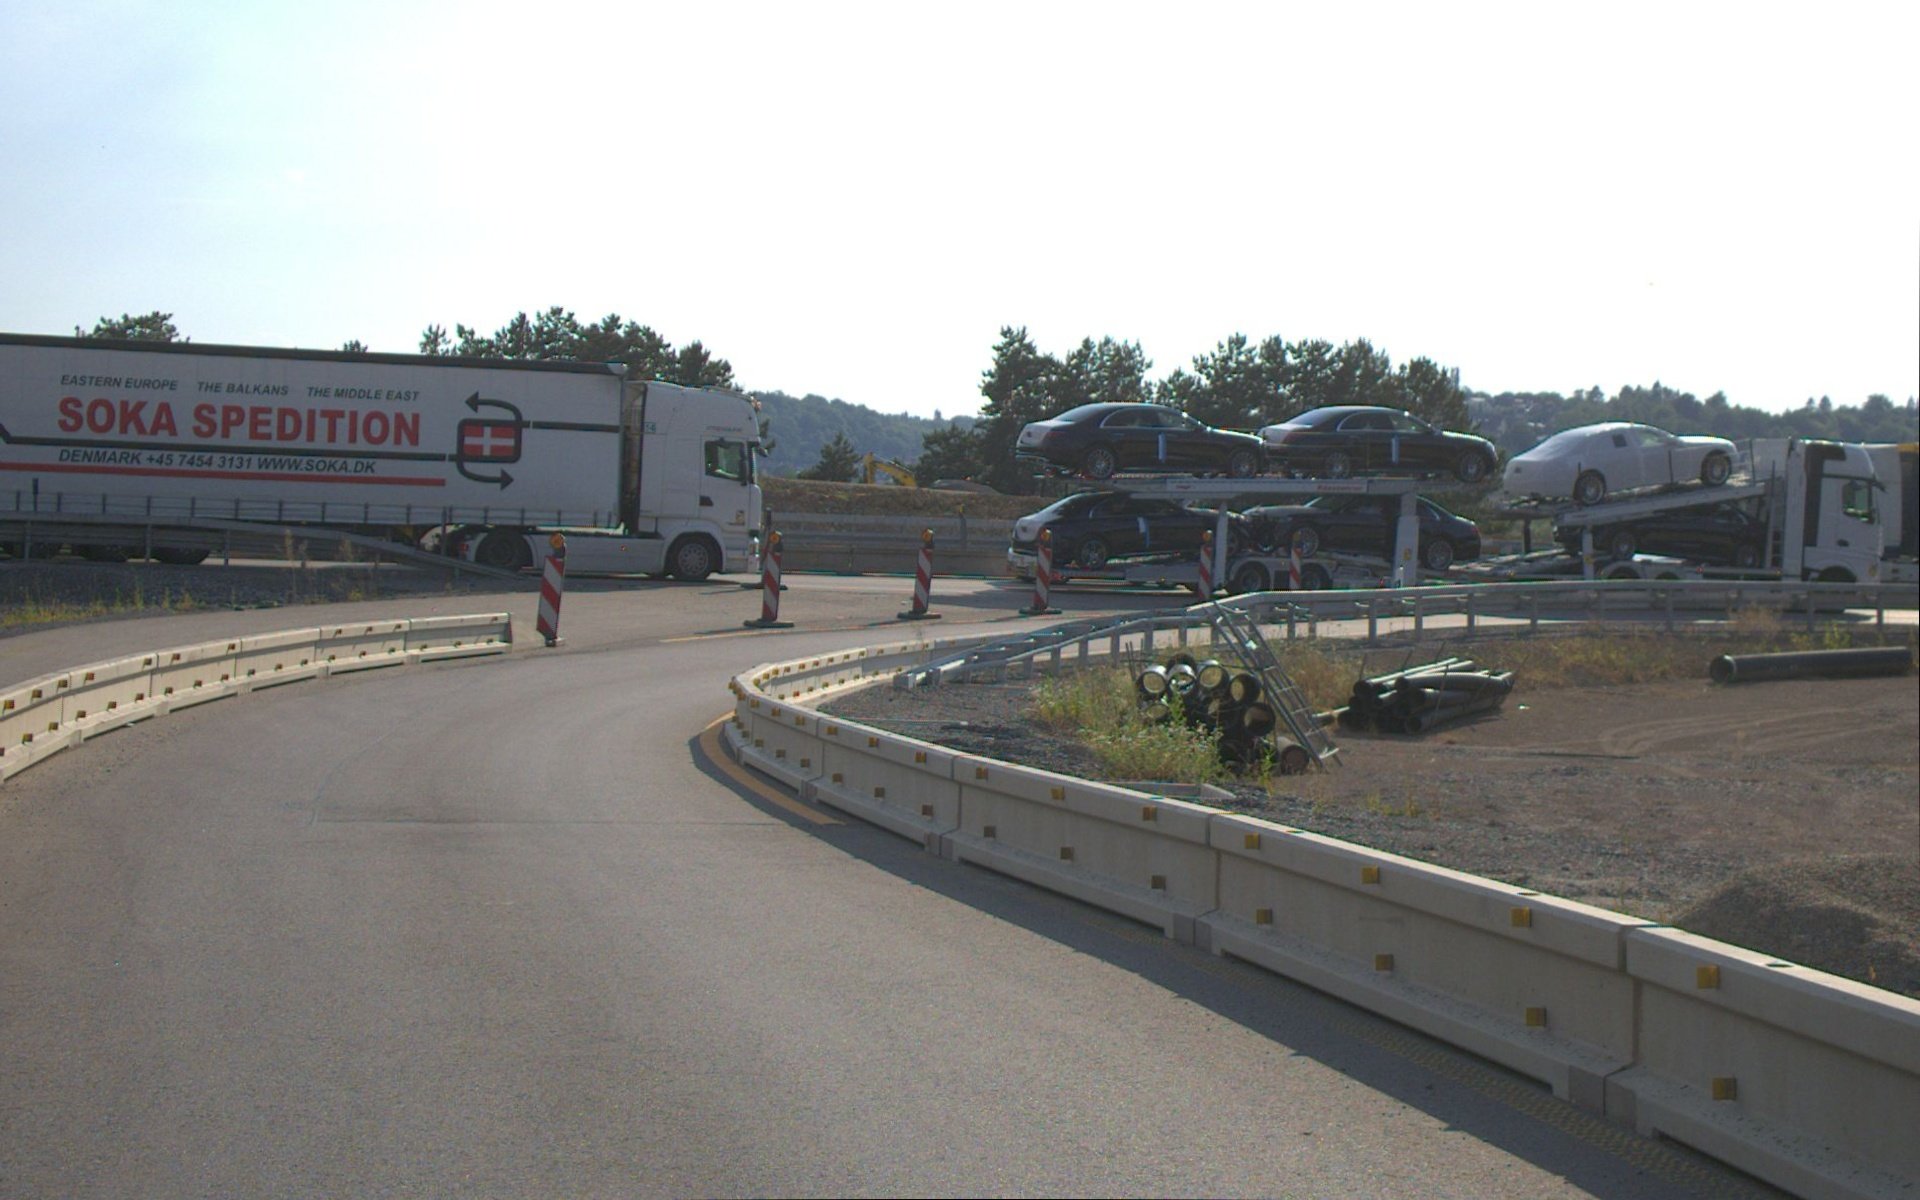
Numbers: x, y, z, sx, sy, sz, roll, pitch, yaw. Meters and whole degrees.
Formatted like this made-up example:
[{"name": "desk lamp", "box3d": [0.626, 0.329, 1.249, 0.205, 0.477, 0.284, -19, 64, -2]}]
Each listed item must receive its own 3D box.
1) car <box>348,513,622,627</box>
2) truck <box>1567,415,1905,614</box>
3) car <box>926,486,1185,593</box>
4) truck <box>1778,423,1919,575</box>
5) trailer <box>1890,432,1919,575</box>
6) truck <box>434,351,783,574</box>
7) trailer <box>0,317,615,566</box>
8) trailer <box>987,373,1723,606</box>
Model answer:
[{"name": "car", "box3d": [-9.435, -0.598, 68.233, 4.961, 1.974, 2.036, 2, 3, -21]}, {"name": "truck", "box3d": [17.030, -1.859, 75.501, 6.601, 3.982, 2.859, 2, 1, -22]}, {"name": "car", "box3d": [2.004, -1.275, 72.419, 4.961, 1.974, 2.036, 2, 3, -21]}, {"name": "truck", "box3d": [24.682, -2.559, 89.667, 5.667, 3.714, 3.007, 2, 0, -22]}, {"name": "trailer", "box3d": [29.773, -2.364, 91.658, 9.536, 3.739, 3.017, 2, 0, -21]}, {"name": "truck", "box3d": [-6.730, -2.599, 65.778, 5.990, 3.865, 2.489, 2, 2, -23]}, {"name": "trailer", "box3d": [-13.314, -2.904, 63.027, 13.582, 3.865, 2.489, 2, 2, -23]}, {"name": "trailer", "box3d": [8.440, -2.232, 71.967, 15.689, 3.982, 2.867, 2, 1, -22]}]
